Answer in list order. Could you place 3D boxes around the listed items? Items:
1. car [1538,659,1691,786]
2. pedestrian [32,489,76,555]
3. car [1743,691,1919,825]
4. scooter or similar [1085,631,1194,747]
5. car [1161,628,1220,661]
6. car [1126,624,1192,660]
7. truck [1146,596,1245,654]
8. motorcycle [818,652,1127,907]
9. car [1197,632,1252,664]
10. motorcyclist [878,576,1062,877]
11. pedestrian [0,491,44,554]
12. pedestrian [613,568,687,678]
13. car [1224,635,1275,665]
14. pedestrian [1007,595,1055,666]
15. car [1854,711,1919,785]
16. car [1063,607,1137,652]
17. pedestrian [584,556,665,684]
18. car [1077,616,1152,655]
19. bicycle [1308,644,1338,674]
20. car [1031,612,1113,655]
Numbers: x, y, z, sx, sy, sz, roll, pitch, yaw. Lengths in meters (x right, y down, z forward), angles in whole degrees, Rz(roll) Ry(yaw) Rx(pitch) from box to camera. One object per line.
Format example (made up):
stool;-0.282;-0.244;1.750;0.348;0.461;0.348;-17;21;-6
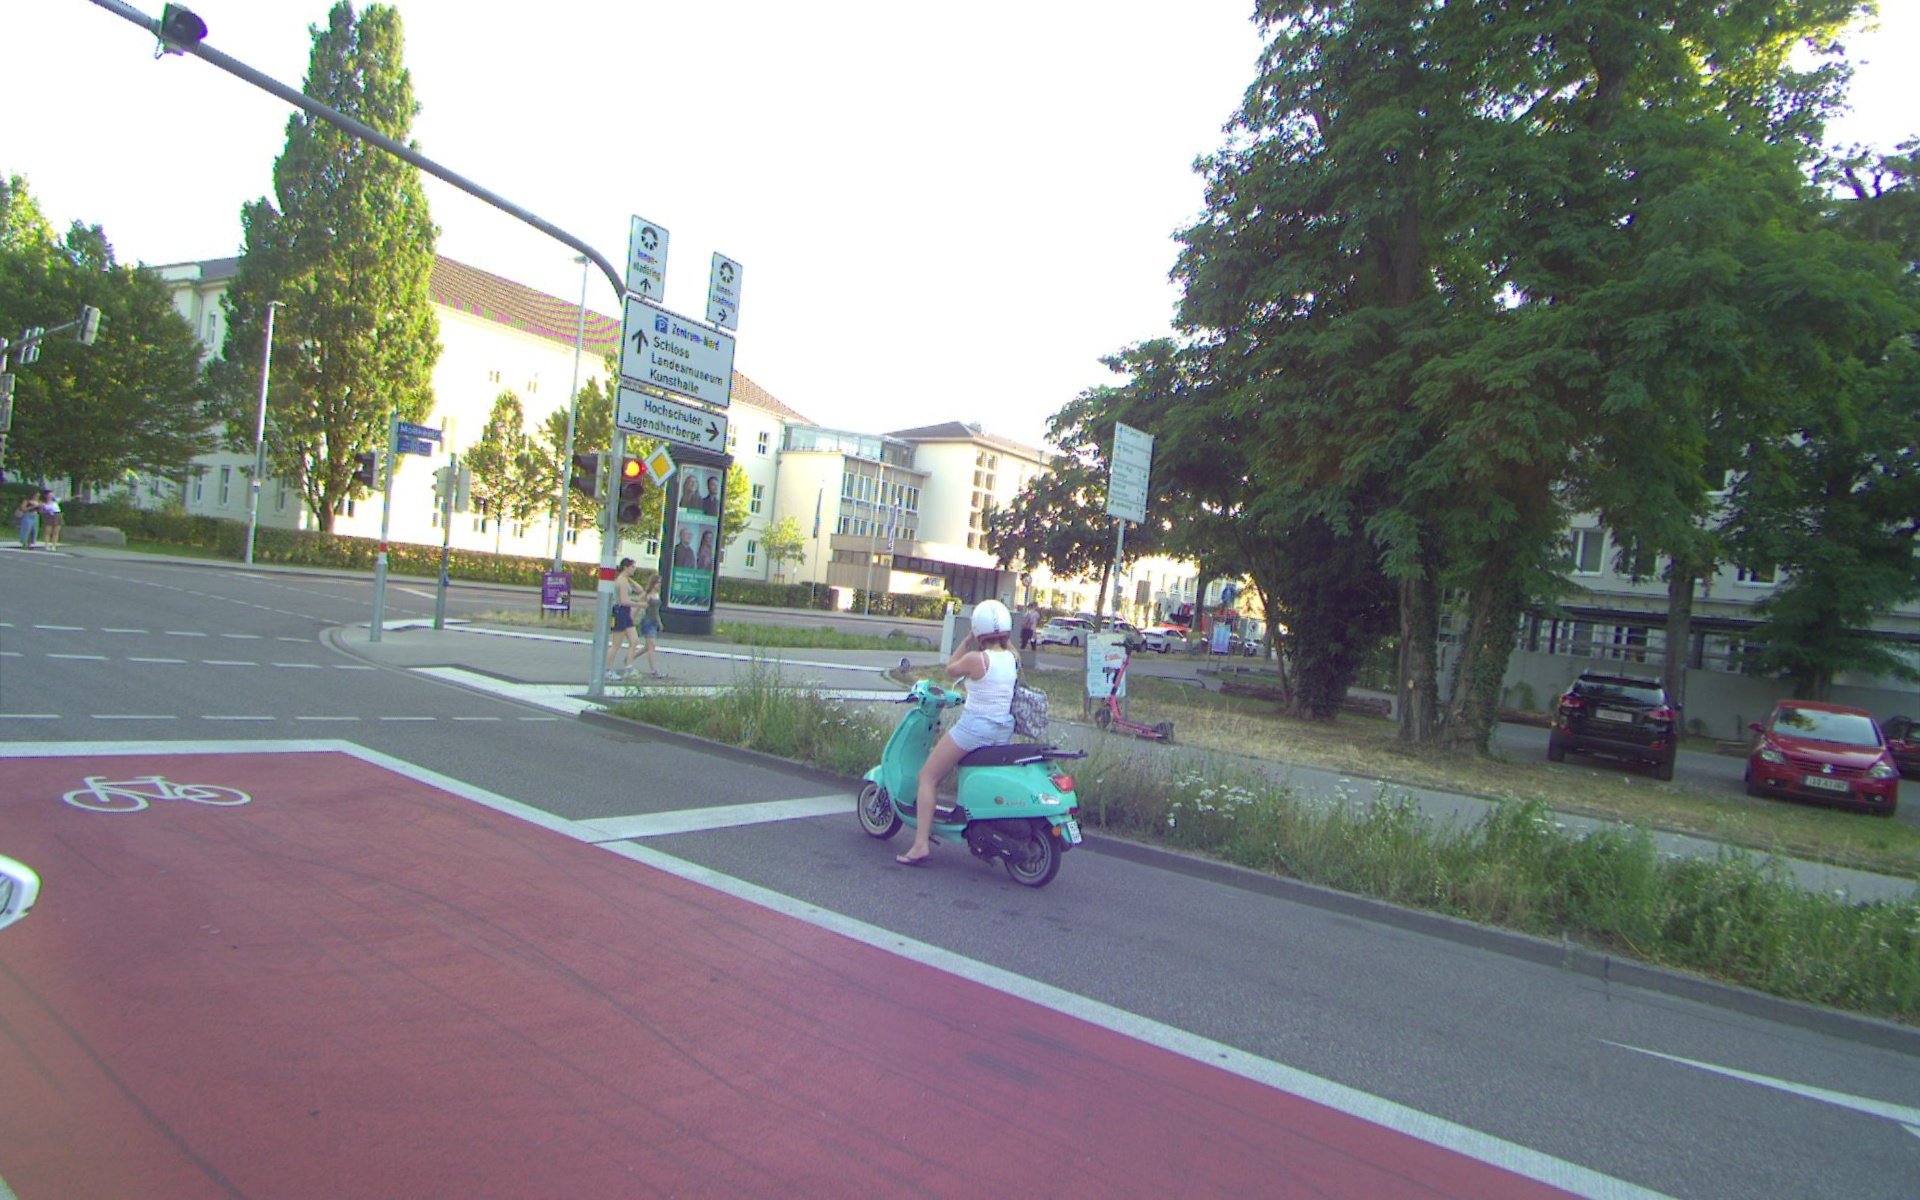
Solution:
car;11.766;2.092;17.955;1.890;1.762;4.223;7;0;37
pedestrian;-26.200;-2.246;29.082;0.677;1.776;0.681;8;2;31
car;14.048;2.422;16.377;1.890;1.631;3.984;7;0;38
scooter or similar;2.271;1.109;12.753;1.159;1.288;0.440;7;1;31
car;13.769;2.660;59.932;1.969;1.660;3.987;7;0;35
car;10.944;2.312;55.219;1.969;1.660;3.987;7;0;35
truck;15.922;1.777;67.368;2.599;3.179;10.243;6;0;35
motorcycle;0.029;1.067;6.498;1.866;1.212;0.681;7;0;40
car;16.730;3.035;63.529;1.969;1.660;3.987;7;0;35
motorcyclist;0.069;0.781;6.494;0.680;1.758;0.737;7;1;40
pedestrian;-26.564;-2.196;28.455;0.831;1.643;0.681;8;2;32
pedestrian;-4.658;0.344;15.164;0.774;1.542;0.736;6;1;-3
car;19.653;3.407;68.207;1.969;1.660;3.987;7;0;35
pedestrian;1.877;0.808;26.492;0.694;1.761;0.892;7;1;40
car;22.993;3.586;24.044;1.742;1.477;3.618;7;0;33
car;7.731;1.649;55.278;2.024;1.884;4.486;7;-2;35
pedestrian;-4.730;0.276;14.222;0.762;1.681;0.721;6;1;-1
car;7.913;1.832;51.270;1.970;1.632;3.985;7;0;37
bicycle;17.086;2.785;47.340;0.563;1.256;1.891;7;0;40
car;5.347;1.603;47.698;1.872;1.660;3.983;7;0;38
